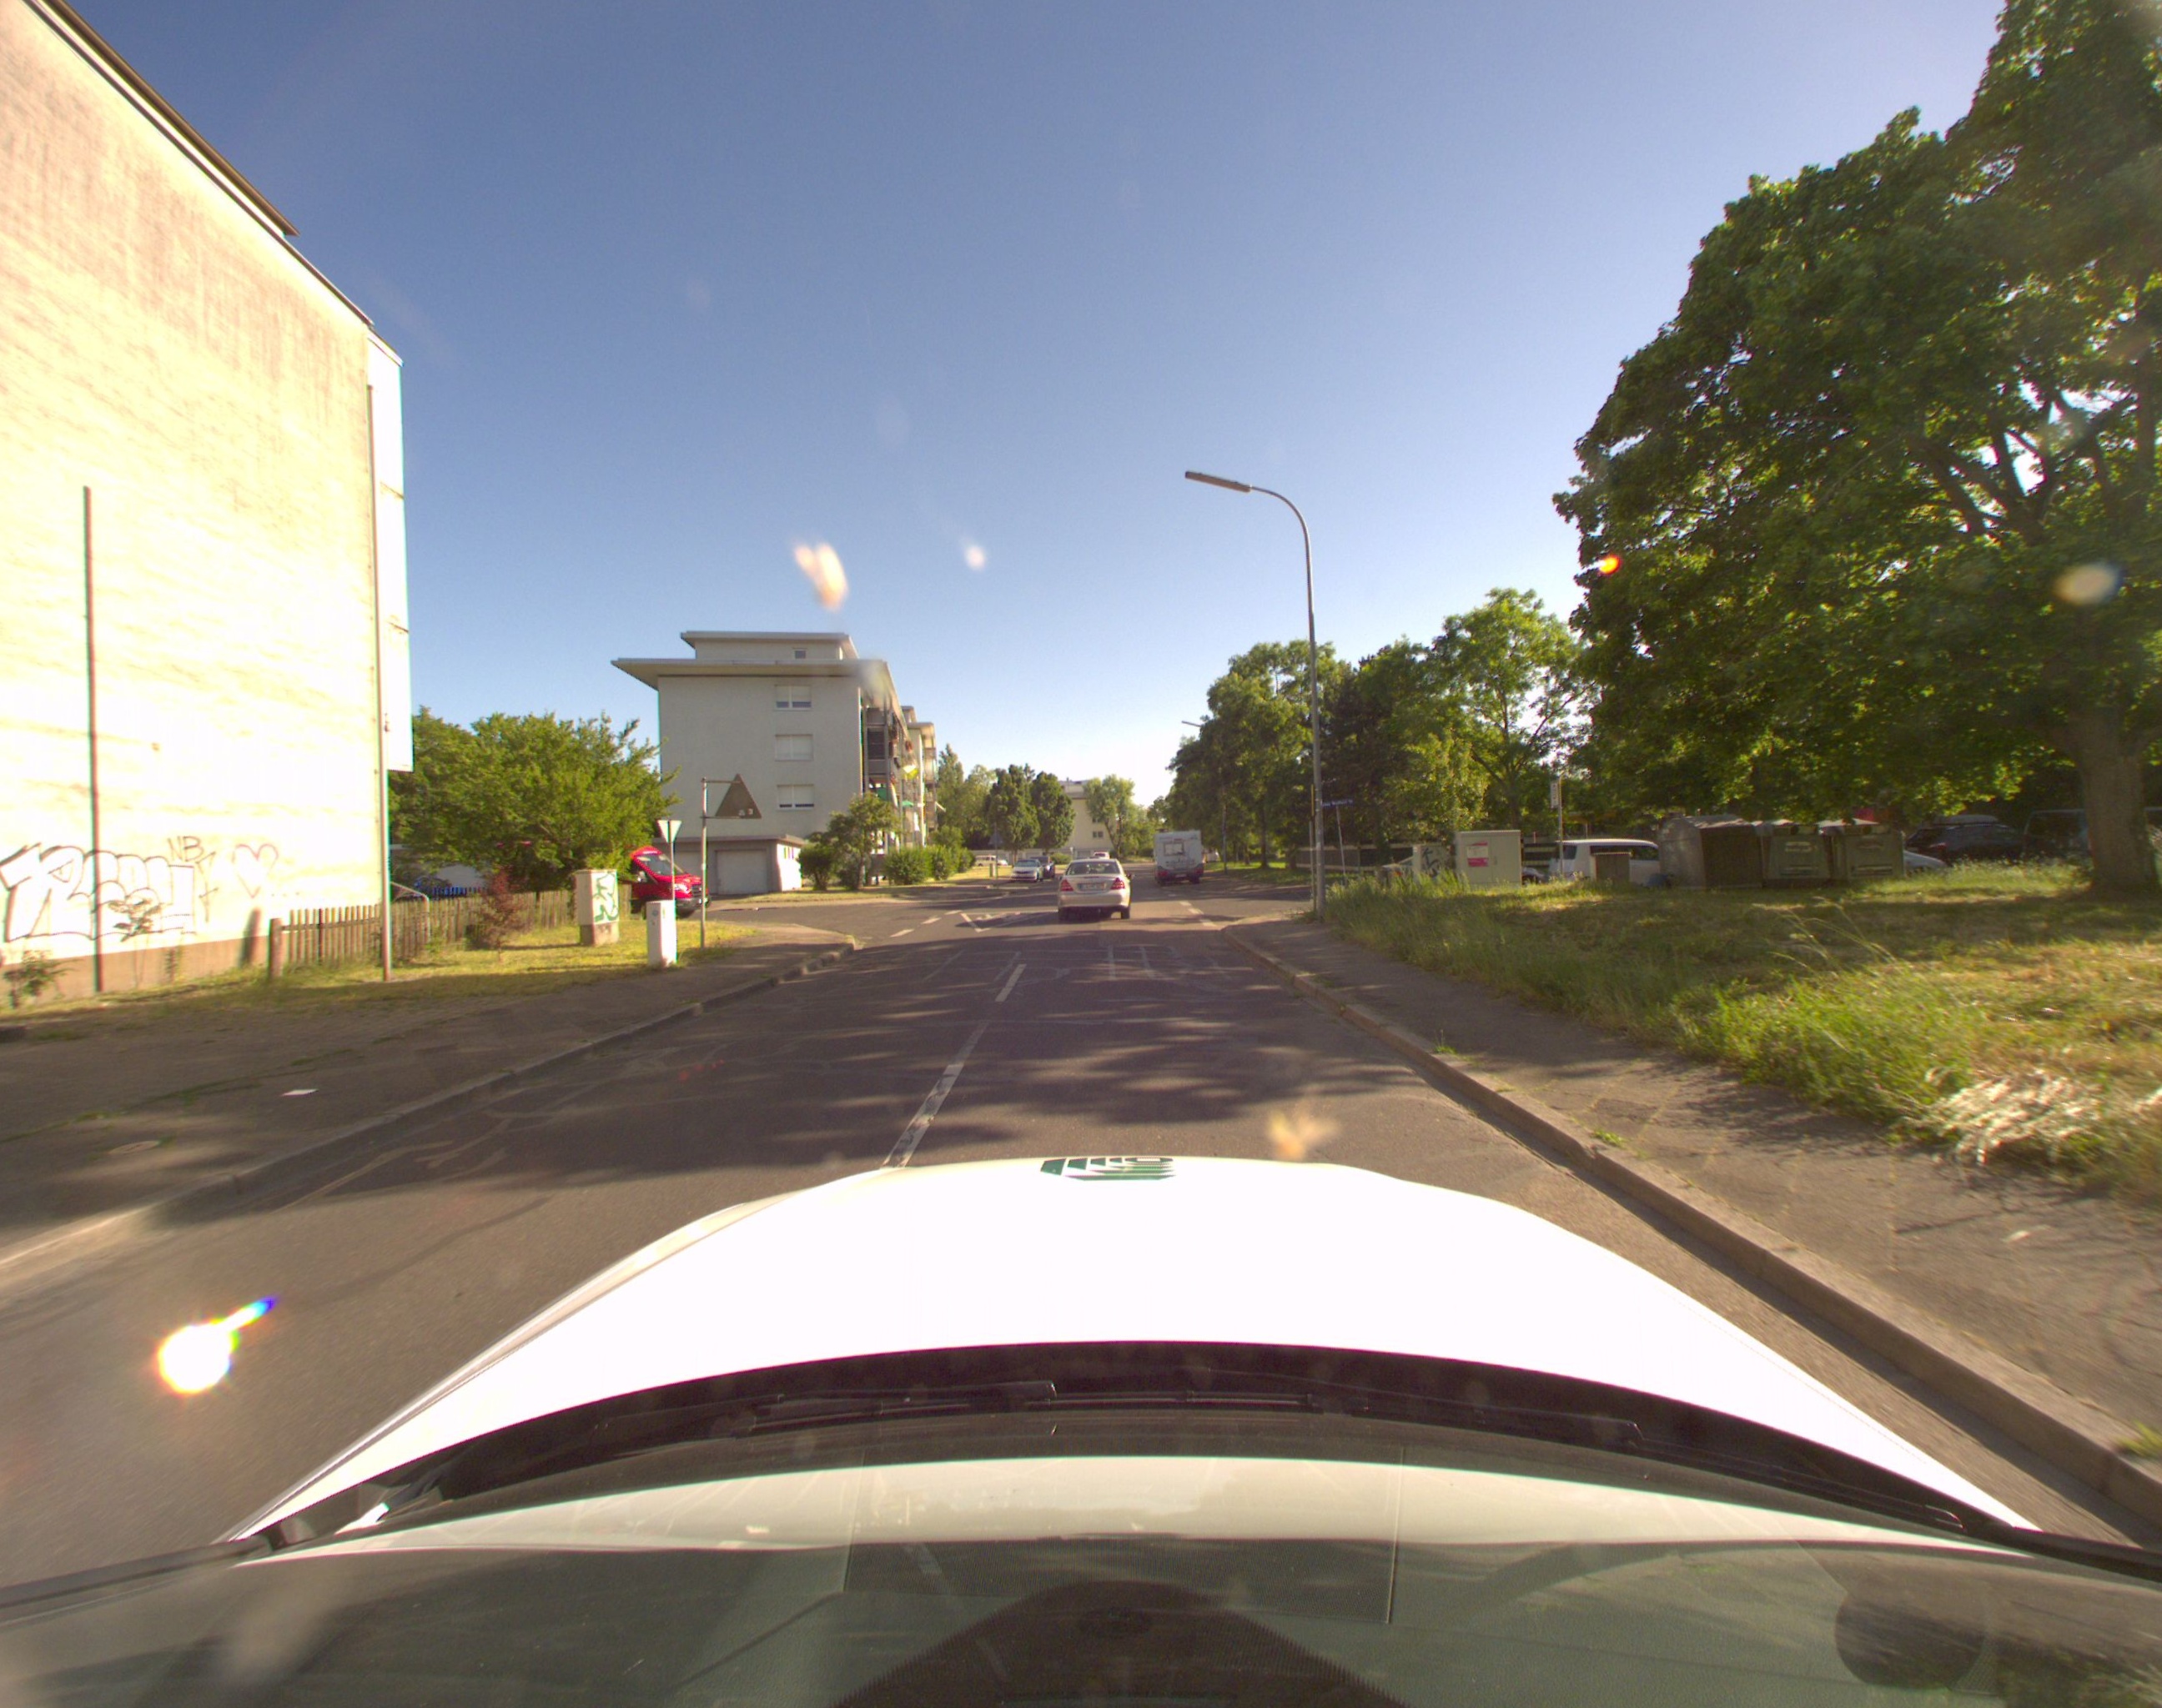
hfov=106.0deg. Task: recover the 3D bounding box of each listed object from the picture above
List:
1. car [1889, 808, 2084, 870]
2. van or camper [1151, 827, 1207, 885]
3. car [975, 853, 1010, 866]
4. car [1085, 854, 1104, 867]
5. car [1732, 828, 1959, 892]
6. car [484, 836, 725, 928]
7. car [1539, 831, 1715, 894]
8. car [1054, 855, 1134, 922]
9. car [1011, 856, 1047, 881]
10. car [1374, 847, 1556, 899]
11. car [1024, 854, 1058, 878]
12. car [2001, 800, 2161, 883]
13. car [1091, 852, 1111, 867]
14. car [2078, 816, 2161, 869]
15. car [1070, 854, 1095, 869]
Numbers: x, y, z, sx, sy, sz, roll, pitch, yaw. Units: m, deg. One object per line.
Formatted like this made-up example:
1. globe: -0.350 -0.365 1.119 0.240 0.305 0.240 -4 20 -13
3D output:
1. car: 29.669 -0.473 26.820 3.840 1.851 2.007 -2 0 12
2. van or camper: 4.949 0.101 42.136 2.341 2.596 6.432 -5 0 4
3. car: -14.097 0.903 130.106 5.068 1.951 2.246 -2 0 14
4. car: 1.711 0.783 99.260 1.823 1.518 4.231 0 0 8
5. car: 20.446 0.142 21.963 4.080 1.541 1.978 -2 1 7
6. car: -14.307 0.789 24.746 5.884 2.428 2.214 -3 1 1
7. car: 15.214 0.239 22.884 3.662 1.578 1.833 -2 0 9
8. car: 0.376 0.774 19.807 1.726 1.434 3.441 -2 0 3
9. car: -3.244 0.898 51.528 1.639 1.466 4.336 -1 0 5
10. car: 10.861 0.519 23.306 4.402 1.337 1.749 -1 1 6
11. car: -2.776 0.838 57.806 1.906 1.604 4.816 1 0 3
12. car: 27.613 -0.366 21.137 4.476 2.012 2.280 -2 0 10
13. car: 2.639 0.676 105.706 2.003 1.885 5.202 0 0 8
14. car: 35.188 -0.418 26.098 3.848 1.611 2.002 -2 0 4
15. car: 0.209 0.752 86.499 2.024 1.493 5.266 1 0 7
